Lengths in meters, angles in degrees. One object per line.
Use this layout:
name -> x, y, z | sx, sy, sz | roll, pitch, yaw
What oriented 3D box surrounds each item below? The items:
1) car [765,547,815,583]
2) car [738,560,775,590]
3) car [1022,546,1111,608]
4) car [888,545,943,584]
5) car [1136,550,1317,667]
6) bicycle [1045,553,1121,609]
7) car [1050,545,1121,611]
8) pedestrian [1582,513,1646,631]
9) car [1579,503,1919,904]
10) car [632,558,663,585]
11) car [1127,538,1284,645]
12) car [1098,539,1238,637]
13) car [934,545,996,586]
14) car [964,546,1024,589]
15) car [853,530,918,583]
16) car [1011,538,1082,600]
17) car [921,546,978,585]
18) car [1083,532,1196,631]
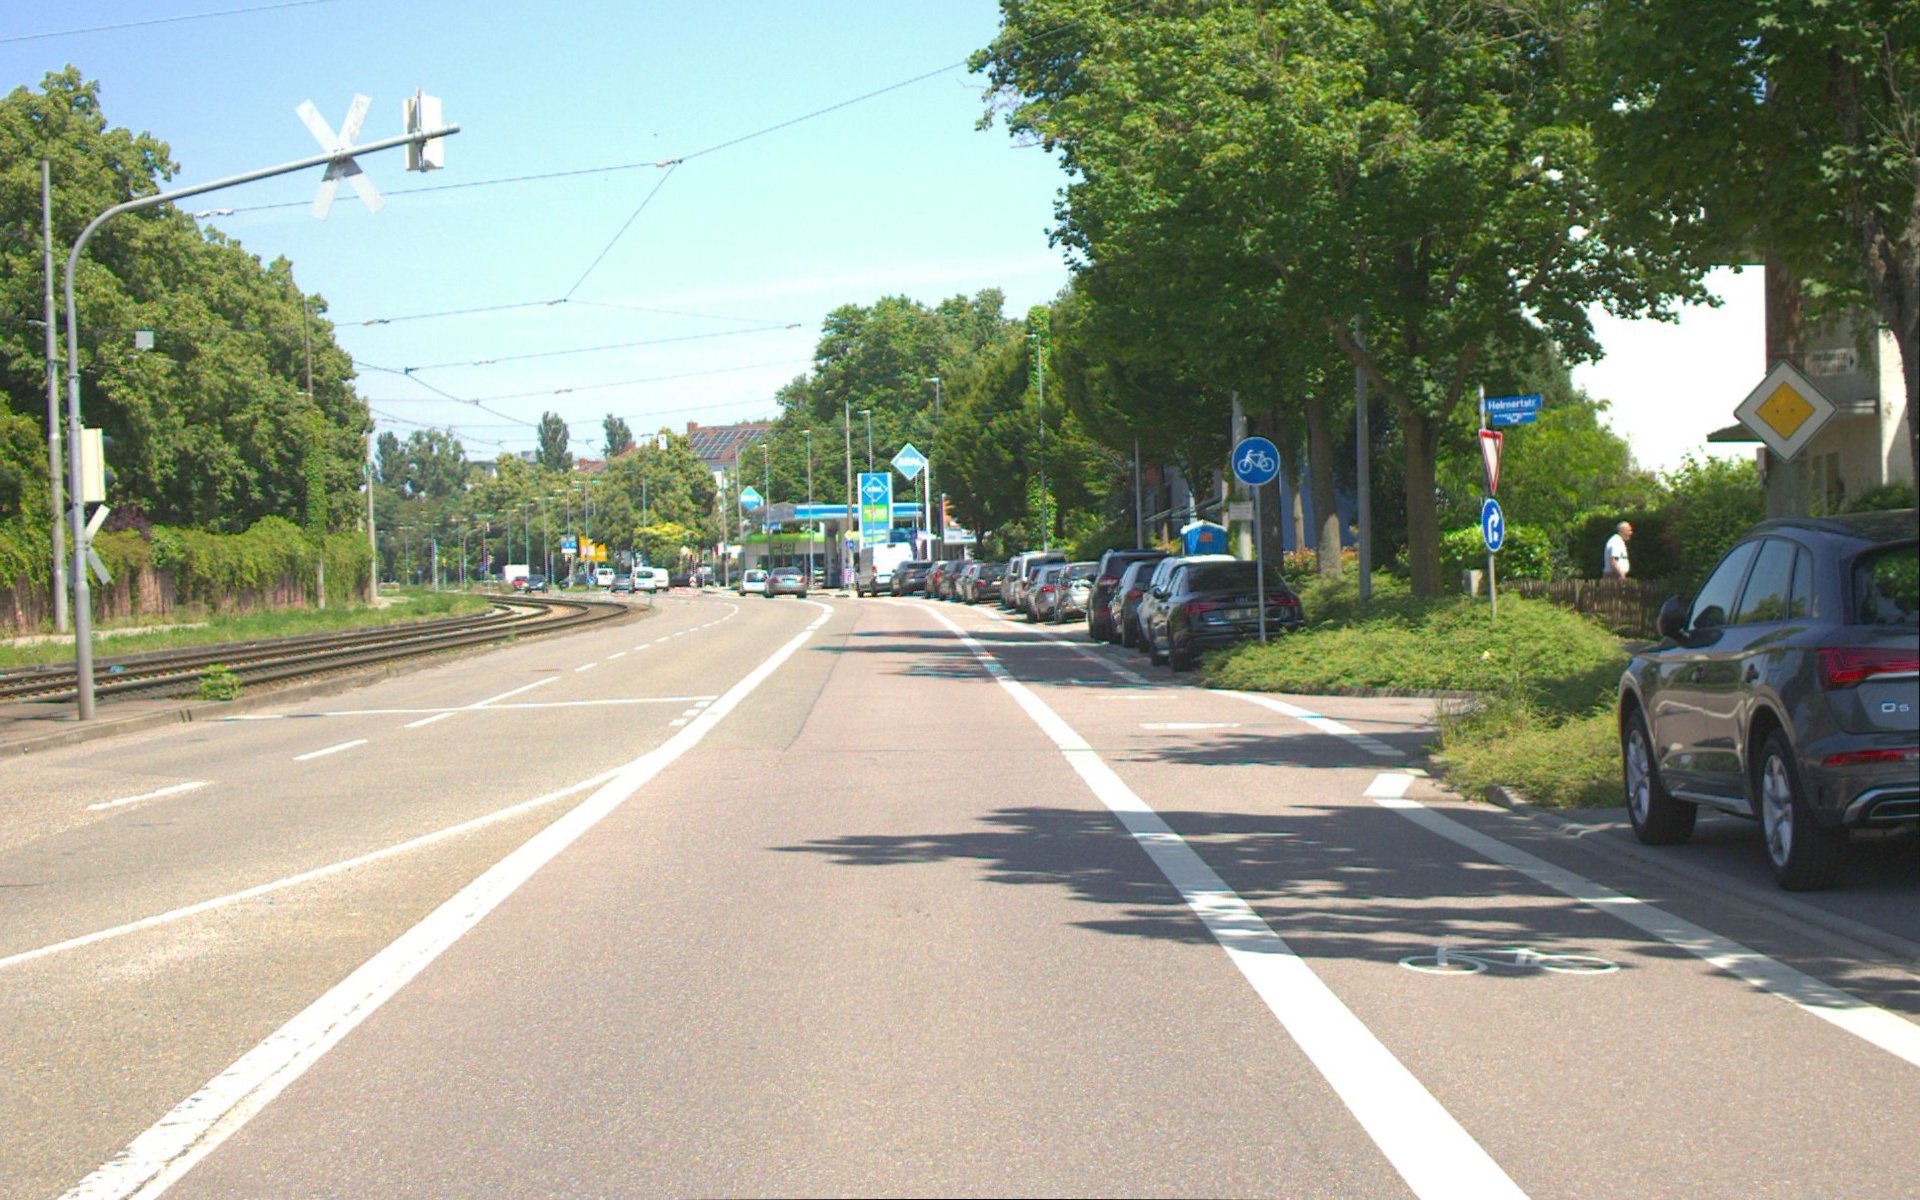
car -> -8.141, -1.679, 164.314 | 1.755, 1.625, 4.325 | -4, 1, -10
car -> -12.033, -1.475, 203.079 | 1.755, 1.625, 4.325 | -4, 1, -8
car -> 2.850, -0.639, 92.666 | 1.840, 1.524, 4.967 | -4, 1, -4
car -> -2.060, -1.630, 157.701 | 1.755, 1.625, 4.325 | -4, 1, -10
car -> 3.664, 0.076, 48.144 | 1.840, 1.431, 4.825 | -4, 1, -3
bicycle -> 3.062, -0.477, 85.622 | 1.774, 1.224, 0.683 | -6, 0, 4
car -> 3.175, -0.575, 87.661 | 1.519, 1.524, 3.817 | -4, 1, -1
pedestrian -> 9.591, -0.414, 50.435 | 0.747, 1.716, 0.633 | -1, 1, -7
car -> 4.346, 0.373, 16.509 | 1.712, 1.627, 4.709 | -4, 0, -1
car -> -22.690, -2.089, 249.347 | 1.755, 1.868, 4.325 | -4, 1, -10
car -> 3.845, -0.161, 54.543 | 1.840, 1.524, 4.206 | -4, 1, -4
car -> 3.591, -0.242, 59.987 | 1.840, 1.524, 4.354 | -4, 1, -3
car -> 0.174, -1.411, 141.835 | 1.706, 1.557, 4.325 | -4, 1, -10
car -> 1.272, -1.256, 130.667 | 1.706, 1.487, 5.039 | -4, 1, -5
car -> -3.646, -2.105, 167.796 | 2.000, 2.448, 6.111 | -4, 1, -11
car -> 2.692, -1.002, 107.641 | 1.840, 1.788, 4.354 | -4, 1, -2
car -> -0.467, -1.482, 147.744 | 1.706, 1.557, 4.325 | -4, 1, -9
car -> 3.389, -0.384, 65.742 | 1.840, 1.700, 4.626 | -4, 1, 0
